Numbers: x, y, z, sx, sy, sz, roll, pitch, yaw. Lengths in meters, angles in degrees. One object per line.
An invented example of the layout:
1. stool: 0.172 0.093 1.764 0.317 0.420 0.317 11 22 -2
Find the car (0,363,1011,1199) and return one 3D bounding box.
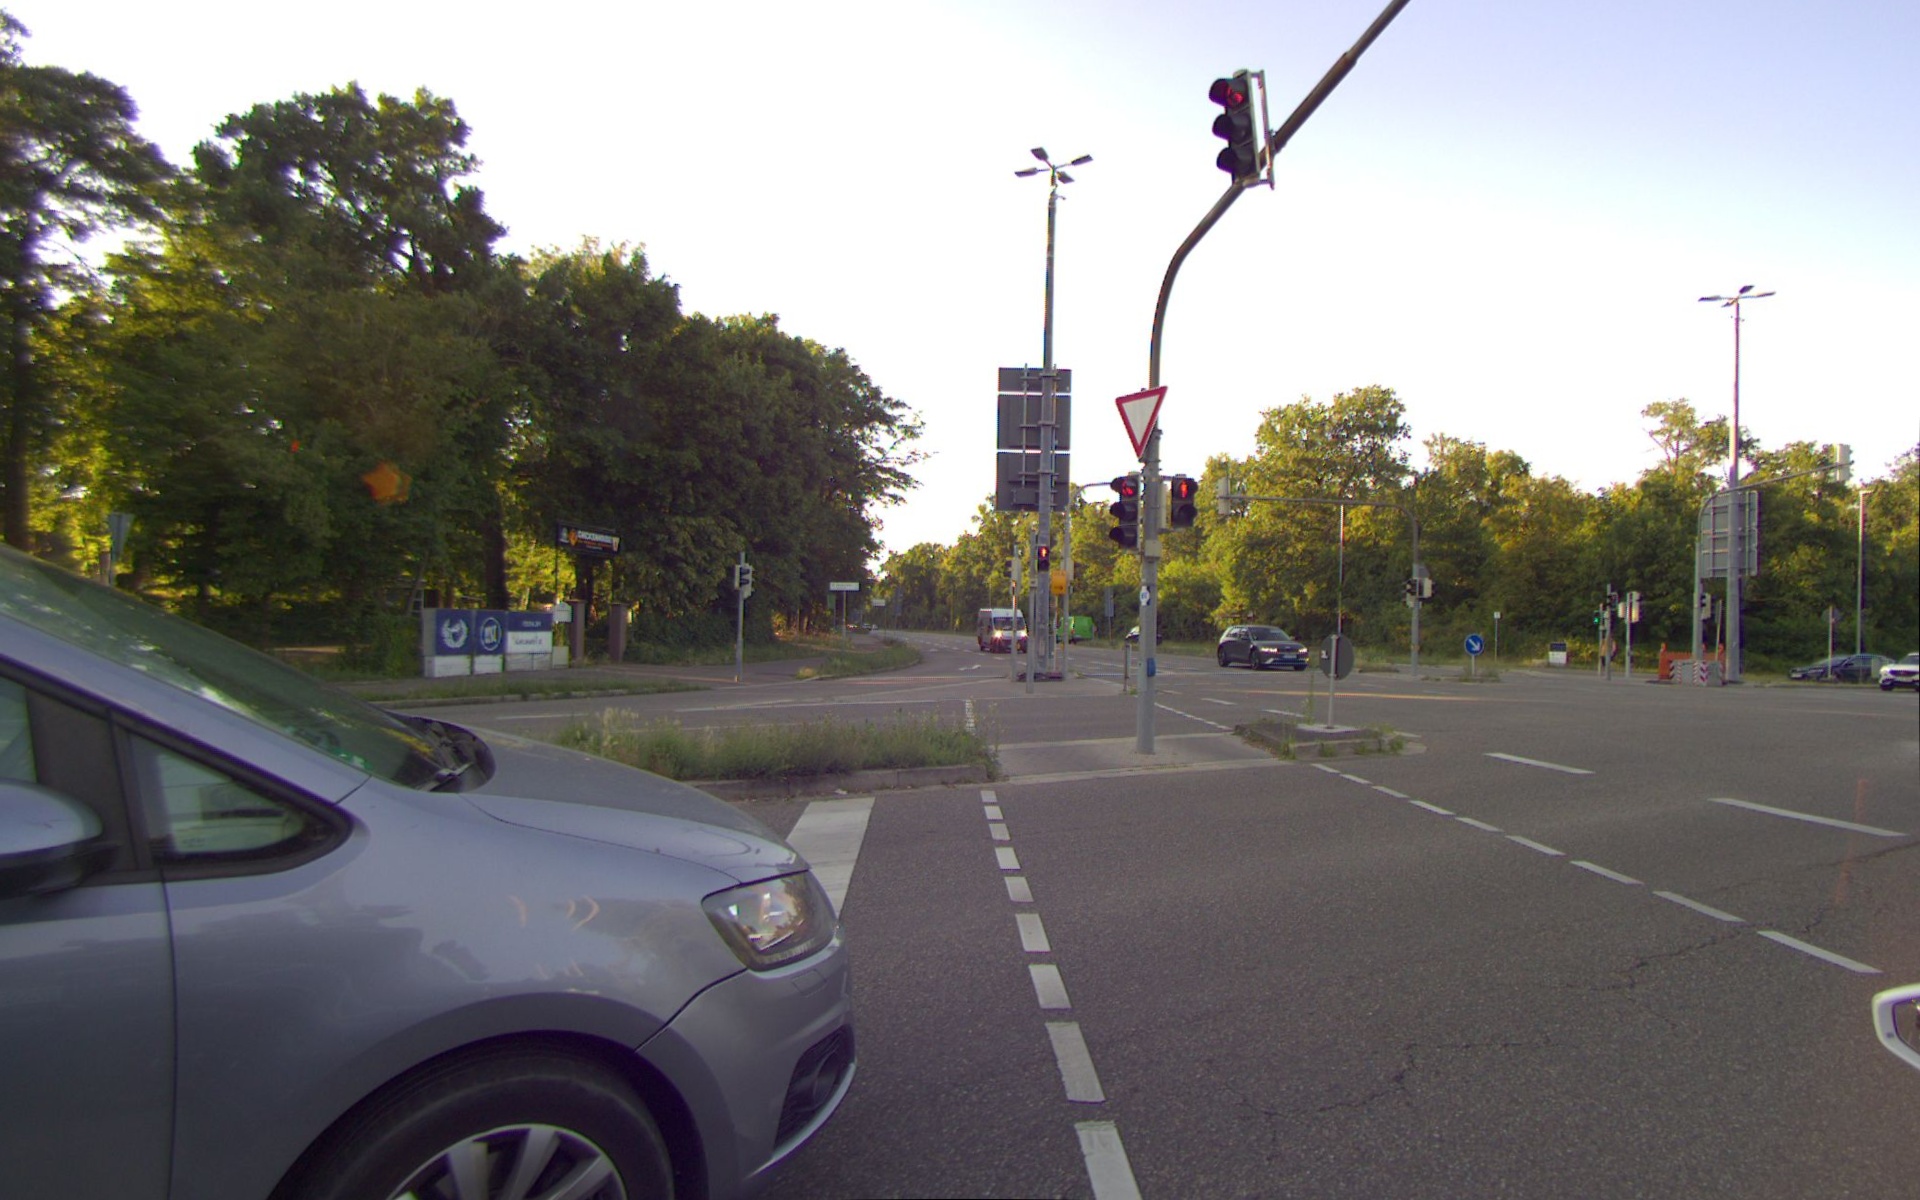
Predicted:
1. car: -2.328 0.547 1.770 4.608 1.747 1.856 2 -1 -32

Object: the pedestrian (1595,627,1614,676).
1. pedestrian: 24.137 1.922 37.635 0.565 1.824 0.748 0 -1 30

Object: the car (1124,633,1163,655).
1. car: 13.047 3.109 71.509 1.633 1.345 4.043 2 0 -6

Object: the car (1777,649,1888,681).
1. car: 38.185 2.851 44.022 3.577 1.260 1.607 1 -1 -3

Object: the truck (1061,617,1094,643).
1. truck: 10.230 2.612 87.802 1.963 2.149 3.995 1 -1 -8

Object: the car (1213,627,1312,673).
1. car: 11.097 1.822 37.137 1.966 1.540 3.995 1 -1 -8

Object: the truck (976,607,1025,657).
1. truck: 2.286 1.774 57.563 2.554 2.591 6.024 2 0 1

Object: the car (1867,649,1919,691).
1. car: 36.006 2.598 37.495 4.176 1.475 1.711 2 -1 -25
